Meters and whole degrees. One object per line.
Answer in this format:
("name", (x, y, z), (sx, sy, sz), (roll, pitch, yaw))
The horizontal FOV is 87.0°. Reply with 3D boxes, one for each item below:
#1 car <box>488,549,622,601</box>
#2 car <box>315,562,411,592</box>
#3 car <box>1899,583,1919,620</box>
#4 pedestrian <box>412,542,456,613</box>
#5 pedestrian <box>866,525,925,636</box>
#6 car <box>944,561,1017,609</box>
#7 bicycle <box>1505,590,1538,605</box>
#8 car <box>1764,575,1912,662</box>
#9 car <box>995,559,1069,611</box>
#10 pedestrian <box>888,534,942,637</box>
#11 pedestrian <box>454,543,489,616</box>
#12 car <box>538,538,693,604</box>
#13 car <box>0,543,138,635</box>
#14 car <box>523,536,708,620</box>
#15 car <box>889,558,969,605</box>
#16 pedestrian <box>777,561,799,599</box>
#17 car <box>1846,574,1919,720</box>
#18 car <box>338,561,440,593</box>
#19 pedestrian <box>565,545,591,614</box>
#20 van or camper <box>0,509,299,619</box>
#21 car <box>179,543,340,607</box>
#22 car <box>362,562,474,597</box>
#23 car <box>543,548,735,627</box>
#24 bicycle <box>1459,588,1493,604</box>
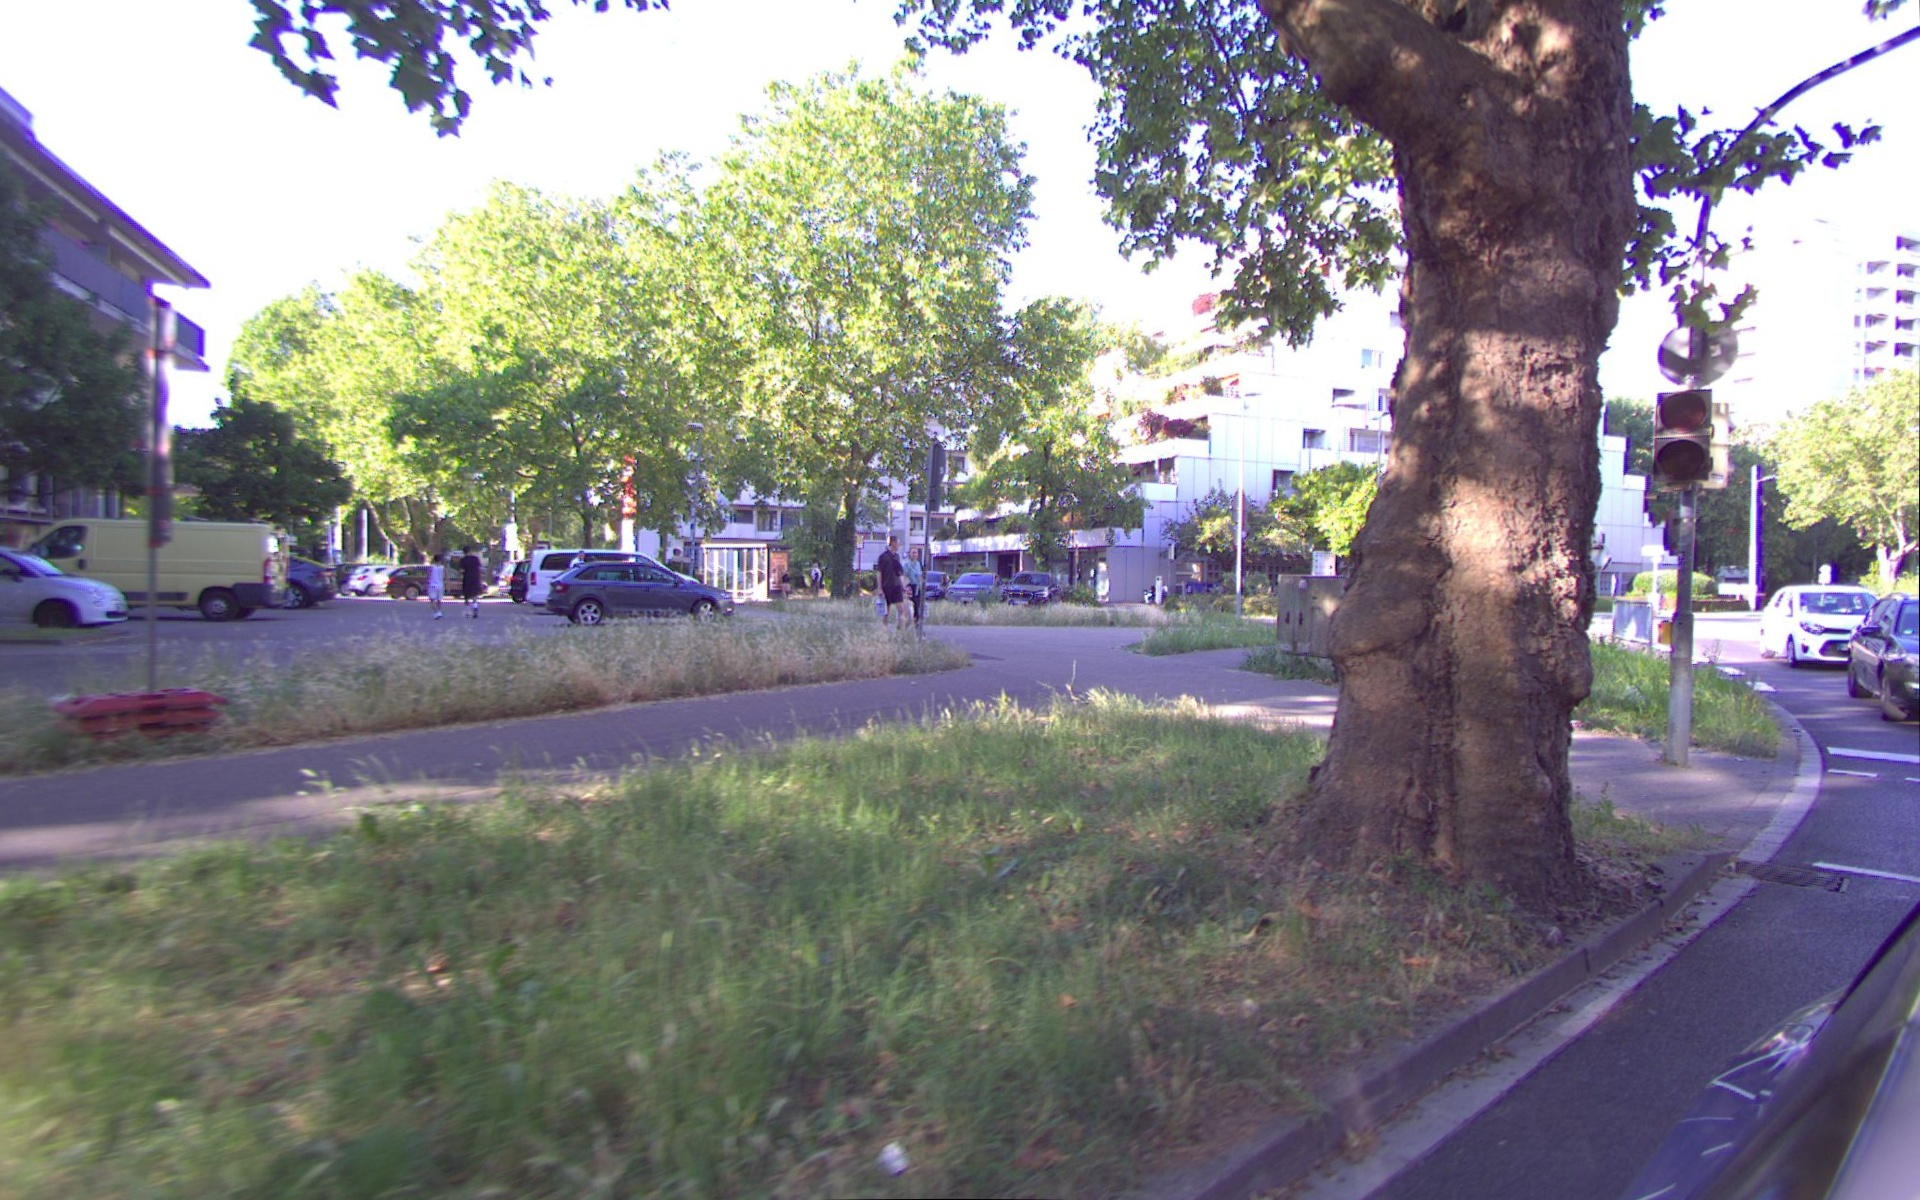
("car", (-16.334, -0.990, 41.004), (1.996, 1.798, 4.557), (3, 0, 45))
("car", (-30.945, -1.202, 52.527), (1.861, 1.484, 3.928), (2, 2, 42))
("car", (42.111, 0.118, 42.216), (4.187, 1.530, 1.775), (2, 2, 40))
("pedestrian", (-12.939, -0.551, 24.882), (0.931, 1.719, 0.884), (0, 1, -30))
("pedestrian", (-1.163, -0.359, 18.388), (0.827, 1.956, 0.778), (1, 1, 16))
("car", (0.841, -0.539, 38.553), (1.801, 1.607, 4.350), (4, 0, 14))
("bicycle", (30.960, -0.140, 55.833), (1.561, 0.794, 0.460), (2, 2, 27))
("car", (16.606, 0.290, 19.095), (3.473, 1.471, 1.653), (0, 2, -41))
("car", (2.675, -0.495, 36.794), (1.910, 1.680, 4.458), (4, 0, 14))
("pedestrian", (-0.843, -0.292, 19.231), (0.775, 1.903, 0.799), (1, 1, 19))
("pedestrian", (-12.454, -0.529, 25.796), (0.673, 1.832, 0.965), (0, 1, -33))
("car", (-11.334, -0.937, 33.323), (4.537, 1.798, 2.005), (4, 0, -25))
("car", (-16.828, -0.259, 17.651), (3.484, 1.473, 1.679), (4, 0, -25))
("car", (-10.324, -0.619, 30.371), (4.947, 2.123, 2.005), (4, 0, -25))
("car", (-1.199, -0.701, 40.759), (1.850, 1.659, 3.973), (3, 0, 20))
("pedestrian", (-7.731, -0.913, 45.548), (0.739, 1.682, 0.623), (2, 1, 33))
("car", (12.237, 0.484, 12.207), (1.834, 1.565, 4.467), (0, 0, 35))
("car", (-27.488, -1.114, 48.822), (1.861, 1.484, 3.928), (2, 2, 42))
("pedestrian", (-9.907, -0.540, 26.233), (0.521, 1.773, 0.561), (-1, 2, -30))
("van or camper", (-18.235, -0.772, 22.799), (5.258, 2.275, 2.270), (0, 2, -23))
("car", (-20.407, -0.710, 29.638), (3.601, 1.654, 1.581), (2, 0, -25))
("car", (-23.716, -0.916, 44.371), (1.861, 1.442, 3.928), (2, 2, 42))
("car", (-7.410, -0.266, 23.450), (3.906, 1.542, 1.678), (4, 0, -30))
("bicycle", (28.612, -0.229, 56.133), (1.666, 0.848, 0.465), (1, 1, -6))
